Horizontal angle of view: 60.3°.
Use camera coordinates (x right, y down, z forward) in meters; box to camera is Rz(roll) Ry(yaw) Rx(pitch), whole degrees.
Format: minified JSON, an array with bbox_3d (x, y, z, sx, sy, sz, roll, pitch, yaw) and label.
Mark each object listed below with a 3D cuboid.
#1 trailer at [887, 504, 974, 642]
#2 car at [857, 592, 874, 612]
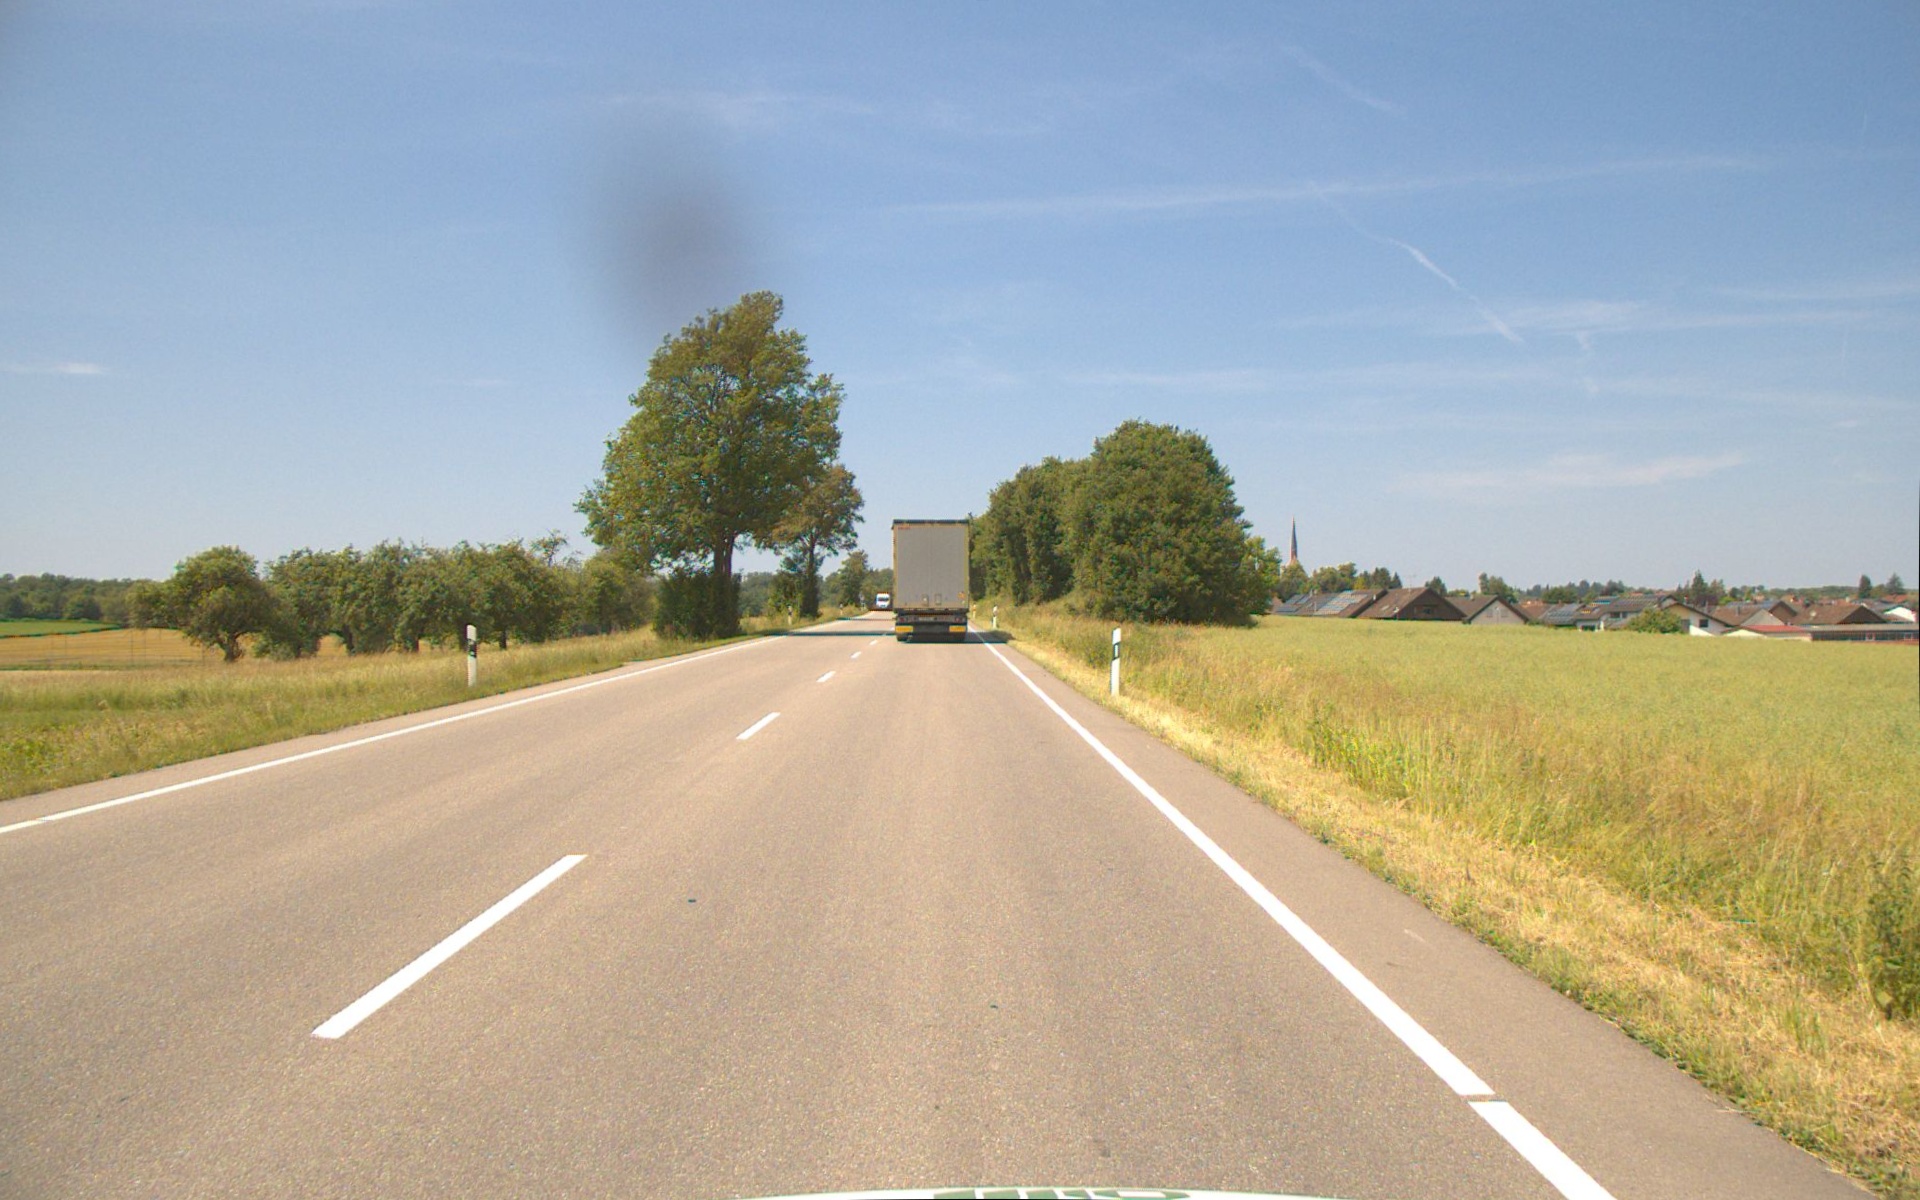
[{"bbox_3d":[-1.118,-0.881,60.536,2.809,4.478,13.488,0,0,-1],"label":"trailer"},{"bbox_3d":[-10.170,0.217,178.100,1.836,2.049,4.072,1,0,-3],"label":"car"}]
